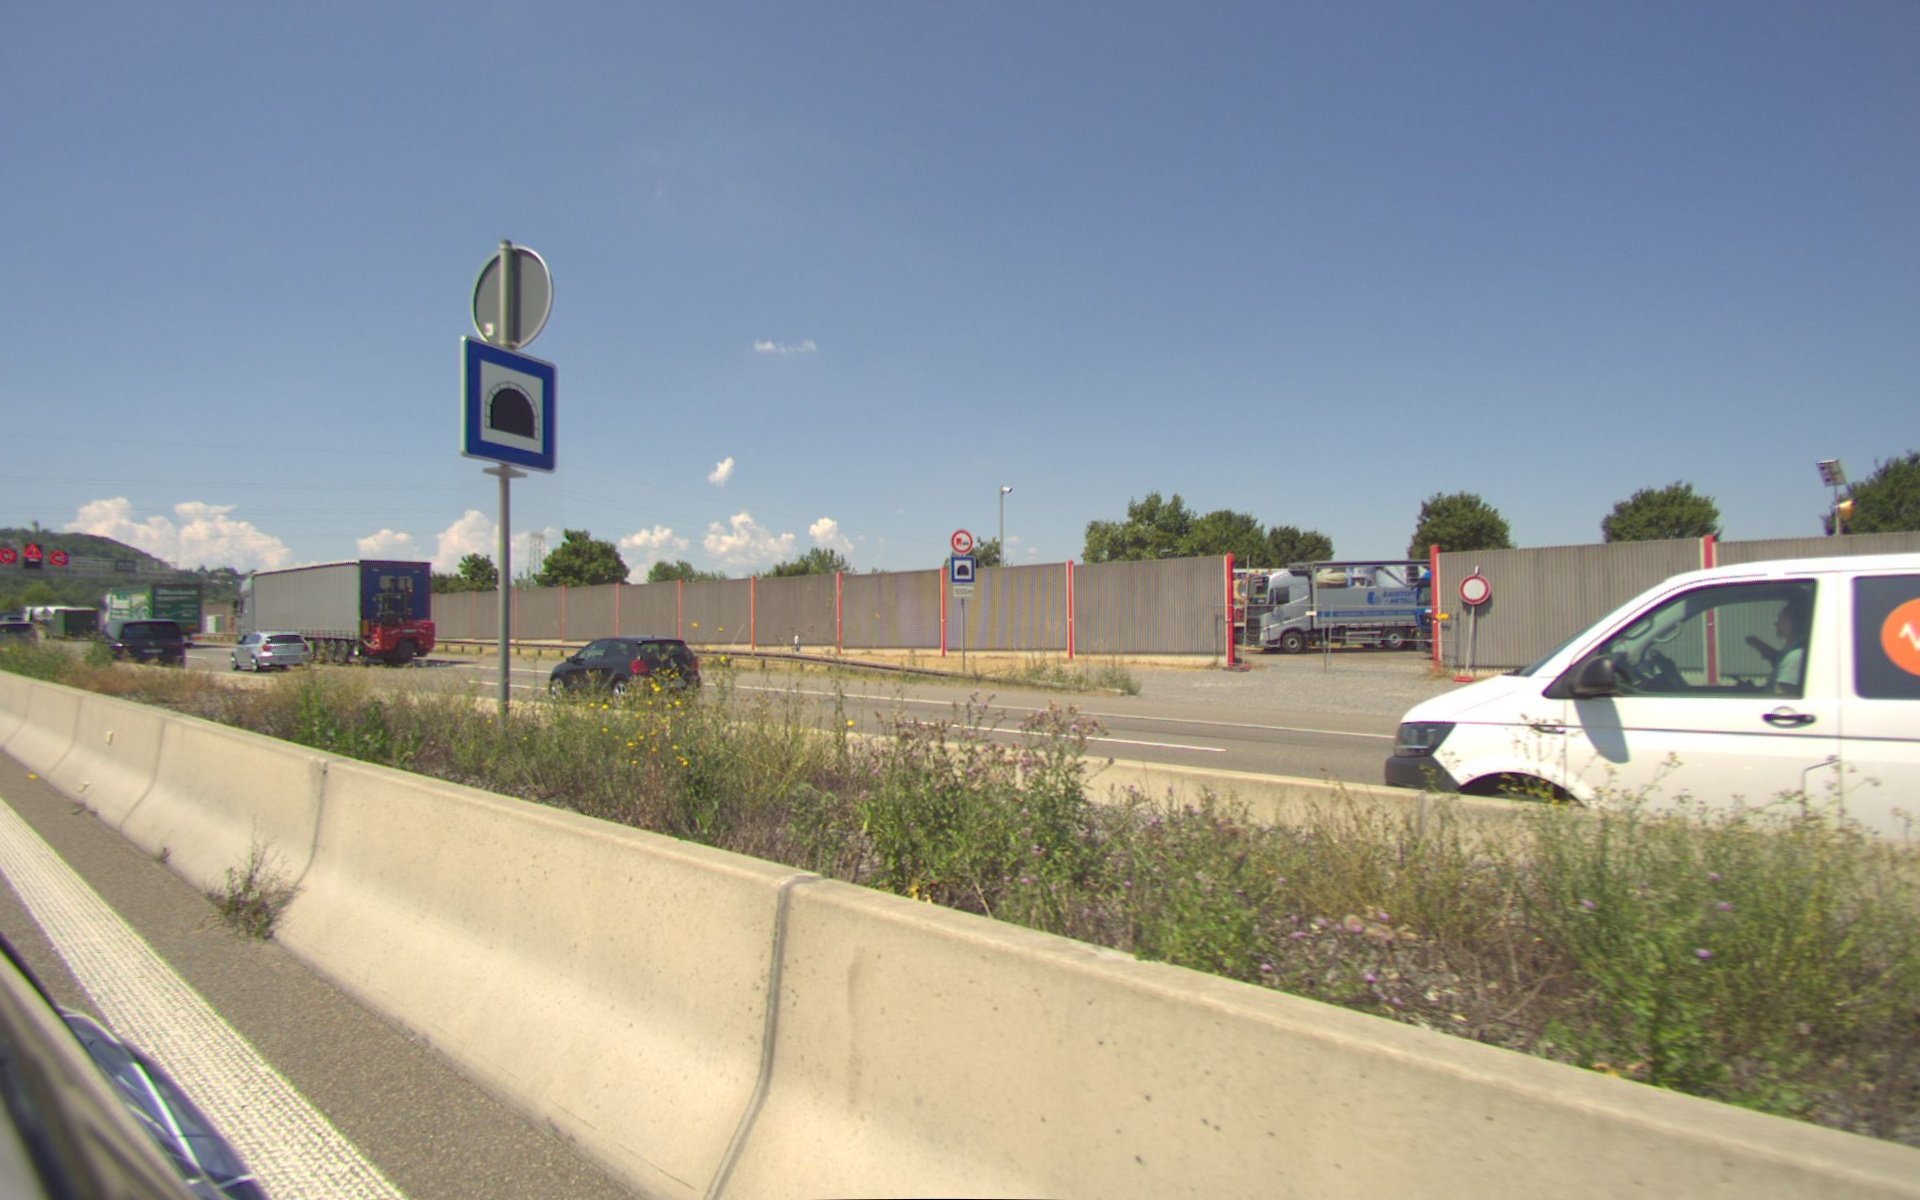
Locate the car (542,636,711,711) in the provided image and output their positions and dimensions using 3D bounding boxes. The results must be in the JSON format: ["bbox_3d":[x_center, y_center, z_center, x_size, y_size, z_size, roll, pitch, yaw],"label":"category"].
[{"bbox_3d":[-6.801,1.431,20.534,3.494,1.349,1.715,-1,-3,41],"label":"car"}]

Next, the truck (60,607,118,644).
[{"bbox_3d":[-71.484,2.070,82.955,9.087,2.895,2.374,-1,-1,41],"label":"truck"}]

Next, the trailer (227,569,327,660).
[{"bbox_3d":[-32.576,0.699,48.270,4.454,4.097,2.929,-1,-1,41],"label":"trailer"}]

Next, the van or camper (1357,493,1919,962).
[{"bbox_3d":[5.036,0.550,4.915,5.441,2.029,1.973,-1,-1,41],"label":"van or camper"}]

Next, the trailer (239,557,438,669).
[{"bbox_3d":[-27.024,0.602,43.397,15.156,4.097,2.953,-1,-1,41],"label":"trailer"}]

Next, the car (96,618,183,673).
[{"bbox_3d":[-27.067,1.460,33.354,3.740,1.716,1.633,-1,-1,41],"label":"car"}]

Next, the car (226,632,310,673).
[{"bbox_3d":[-24.998,1.861,36.503,3.740,1.349,1.633,-1,-1,41],"label":"car"}]

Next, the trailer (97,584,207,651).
[{"bbox_3d":[-53.873,1.106,67.208,14.384,4.087,3.222,-1,0,41],"label":"trailer"}]

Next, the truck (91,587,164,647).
[{"bbox_3d":[-59.058,1.173,71.770,5.018,4.087,3.189,-1,0,41],"label":"truck"}]

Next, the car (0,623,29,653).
[{"bbox_3d":[-52.127,2.066,55.331,3.182,1.550,1.495,-1,-1,41],"label":"car"}]
